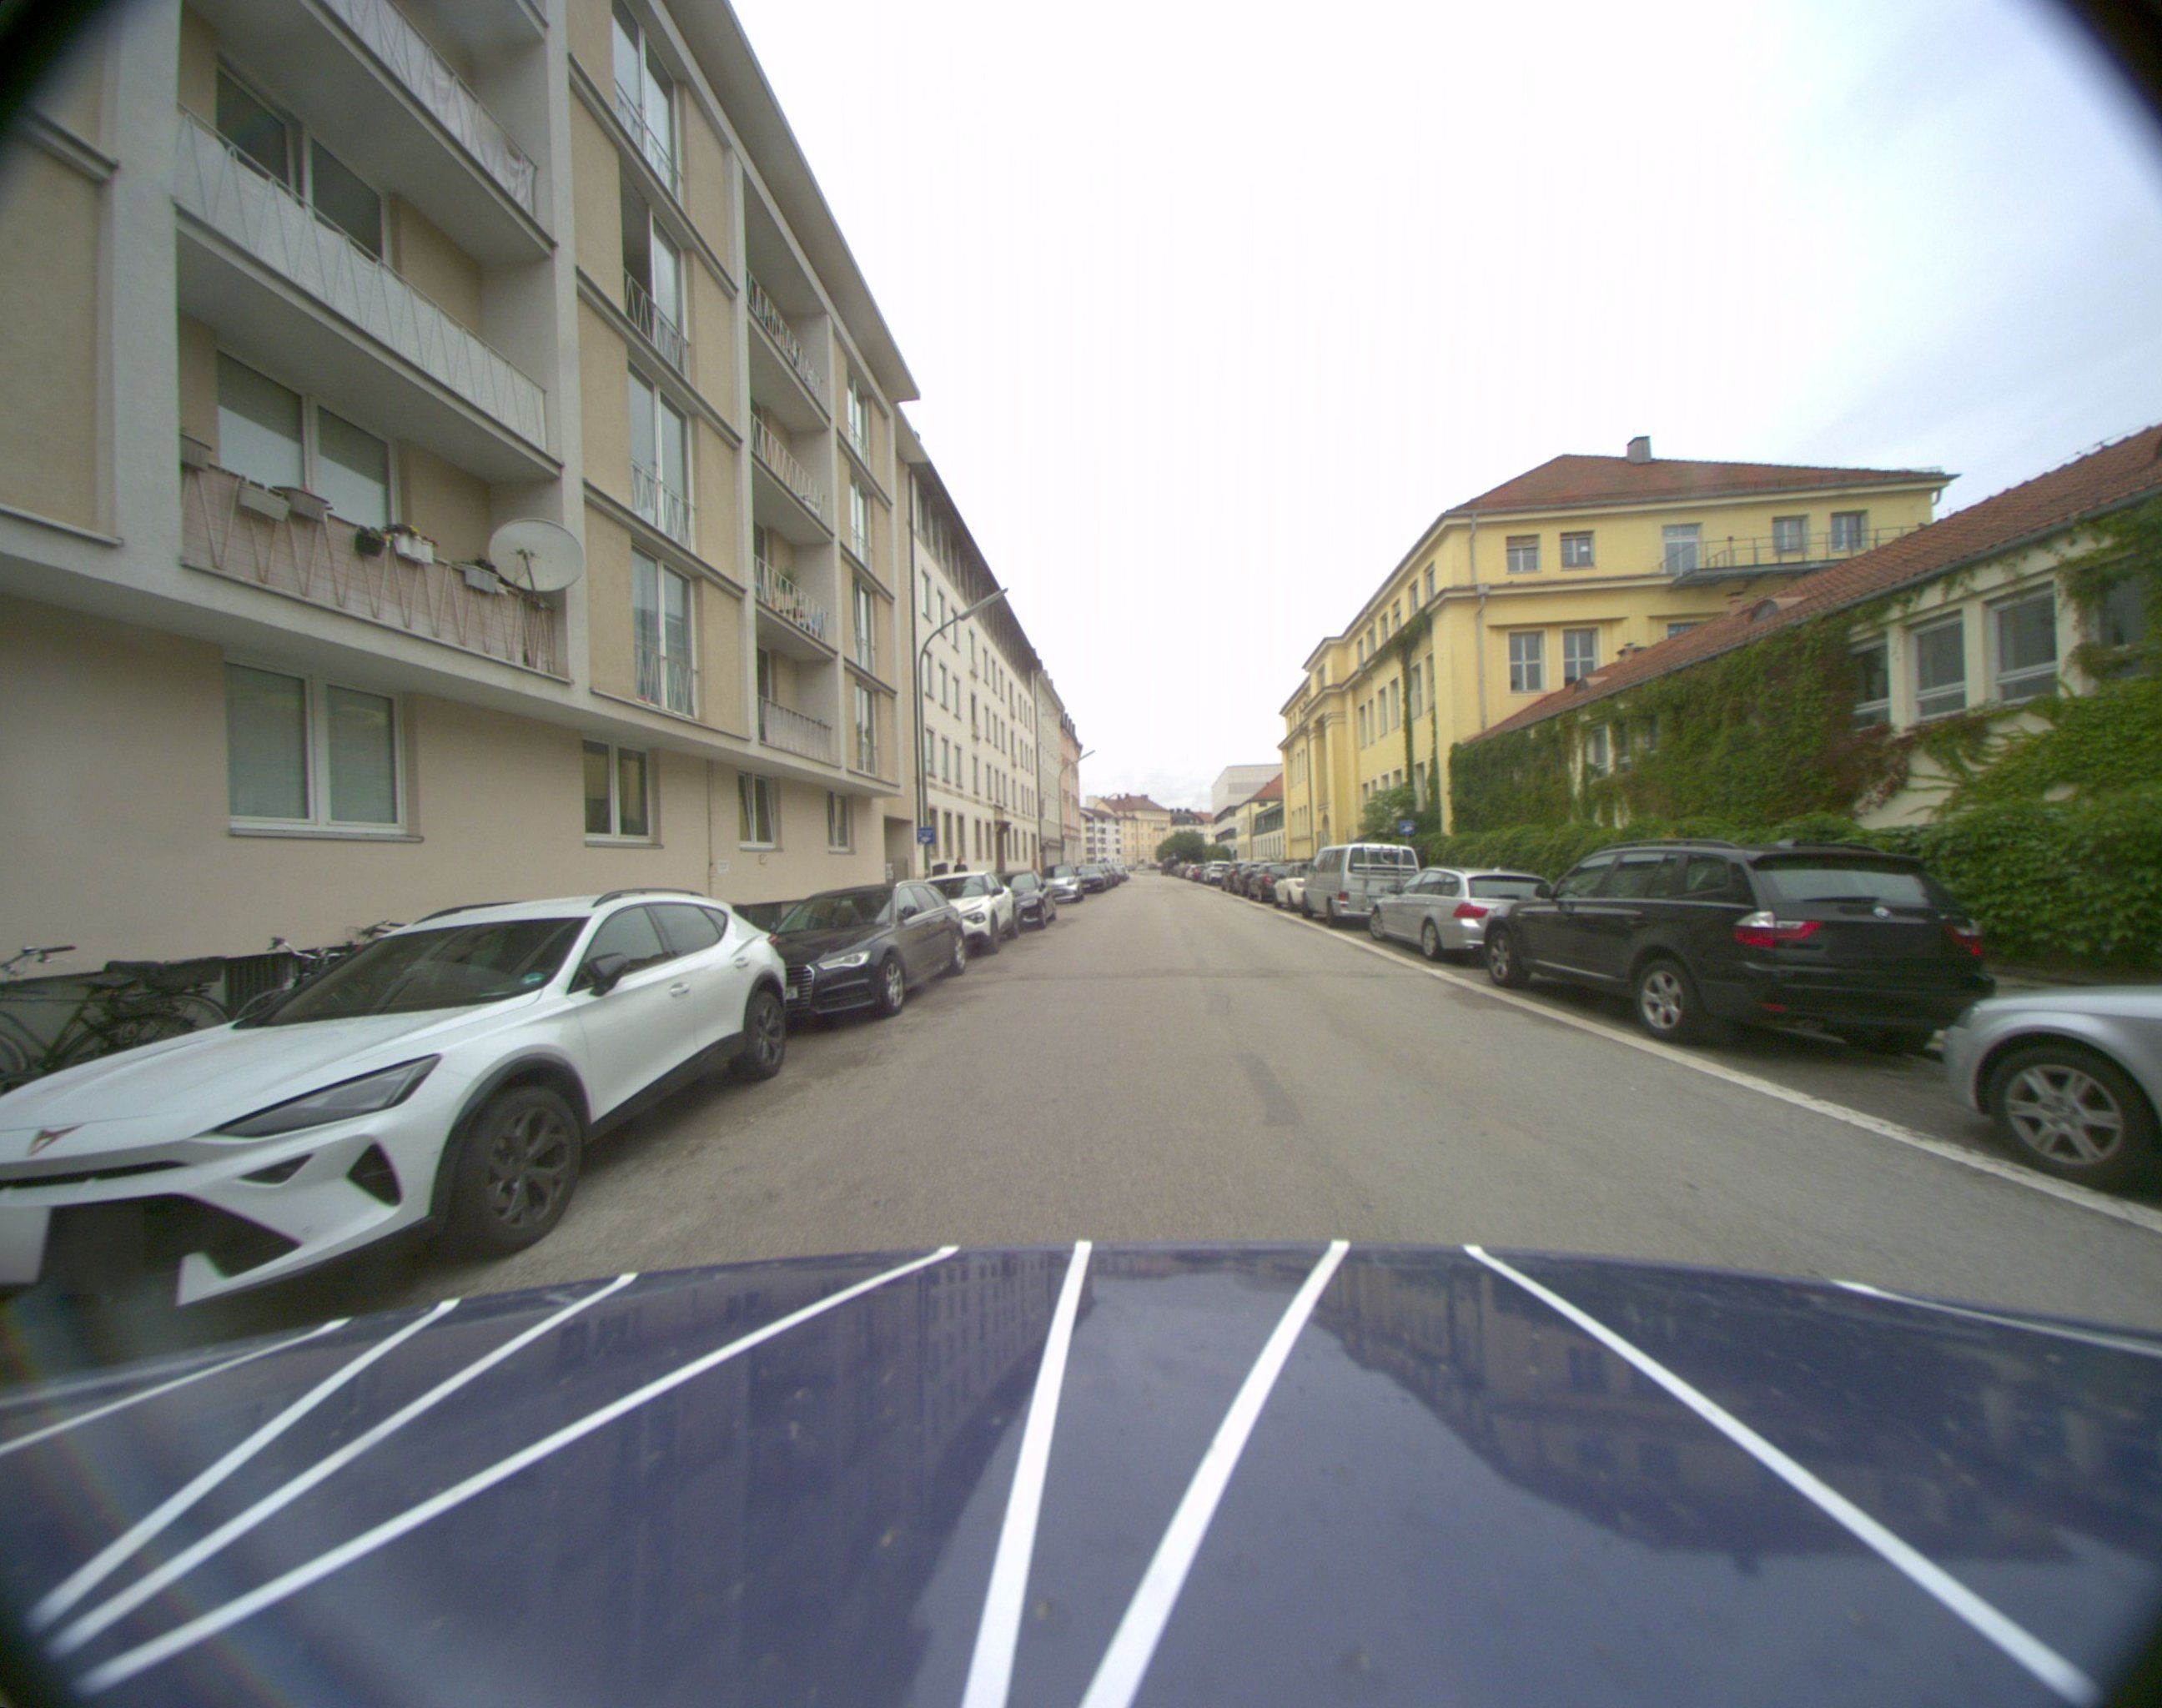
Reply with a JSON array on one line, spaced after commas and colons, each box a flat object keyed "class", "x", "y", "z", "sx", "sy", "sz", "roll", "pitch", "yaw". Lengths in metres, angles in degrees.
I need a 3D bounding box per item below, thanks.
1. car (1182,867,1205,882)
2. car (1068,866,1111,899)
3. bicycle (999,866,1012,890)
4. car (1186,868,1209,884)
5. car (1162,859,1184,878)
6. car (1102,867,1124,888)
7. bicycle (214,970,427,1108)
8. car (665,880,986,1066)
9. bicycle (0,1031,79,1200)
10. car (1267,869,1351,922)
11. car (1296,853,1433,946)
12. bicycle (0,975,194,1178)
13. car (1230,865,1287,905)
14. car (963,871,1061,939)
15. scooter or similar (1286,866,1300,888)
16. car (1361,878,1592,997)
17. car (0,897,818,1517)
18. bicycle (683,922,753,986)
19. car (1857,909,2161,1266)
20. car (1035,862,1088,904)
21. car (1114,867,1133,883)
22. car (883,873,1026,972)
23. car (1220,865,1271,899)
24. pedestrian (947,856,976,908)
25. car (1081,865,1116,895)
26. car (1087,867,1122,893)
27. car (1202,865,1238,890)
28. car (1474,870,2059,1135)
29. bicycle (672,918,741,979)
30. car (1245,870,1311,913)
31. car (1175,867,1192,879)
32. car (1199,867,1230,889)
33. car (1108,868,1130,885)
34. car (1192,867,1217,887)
[{"class": "car", "x": 11.860, "y": 2.138, "z": 80.597, "sx": 1.962, "sy": 1.473, "sz": 4.531, "roll": 1, "pitch": -1, "yaw": 3}, {"class": "car", "x": 0.534, "y": 1.475, "z": 40.726, "sx": 1.806, "sy": 1.475, "sz": 5.322, "roll": -5, "pitch": -1, "yaw": 5}, {"class": "bicycle", "x": -3.944, "y": 1.259, "z": 39.819, "sx": 0.514, "sy": 1.215, "sz": 1.989, "roll": -1, "pitch": -1, "yaw": -1}, {"class": "car", "x": 11.494, "y": 2.117, "z": 74.914, "sx": 1.798, "sy": 1.421, "sz": 4.666, "roll": 2, "pitch": -1, "yaw": 4}, {"class": "car", "x": 14.101, "y": 2.228, "z": 116.846, "sx": 2.219, "sy": 2.836, "sz": 6.196, "roll": 1, "pitch": -1, "yaw": -3}, {"class": "car", "x": 2.669, "y": 1.969, "z": 64.274, "sx": 1.710, "sy": 1.582, "sz": 4.363, "roll": -3, "pitch": -1, "yaw": 2}, {"class": "bicycle", "x": -6.701, "y": 1.592, "z": 6.785, "sx": 0.378, "sy": 0.899, "sz": 1.392, "roll": -2, "pitch": -1, "yaw": 6}, {"class": "car", "x": -2.775, "y": 1.232, "z": 9.807, "sx": 1.884, "sy": 1.513, "sz": 5.166, "roll": -5, "pitch": -1, "yaw": 5}, {"class": "bicycle", "x": -6.447, "y": 1.540, "z": 4.005, "sx": 0.378, "sy": 0.899, "sz": 1.392, "roll": -2, "pitch": -1, "yaw": 6}, {"class": "car", "x": 6.912, "y": 1.206, "z": 23.394, "sx": 1.594, "sy": 1.432, "sz": 4.020, "roll": 1, "pitch": 0, "yaw": 4}, {"class": "car", "x": 6.468, "y": 0.950, "z": 17.954, "sx": 1.891, "sy": 1.878, "sz": 4.776, "roll": 1, "pitch": 0, "yaw": 6}, {"class": "bicycle", "x": -6.829, "y": 1.448, "z": 4.938, "sx": 0.378, "sy": 1.112, "sz": 1.393, "roll": -2, "pitch": -1, "yaw": 6}, {"class": "car", "x": 7.797, "y": 1.297, "z": 33.690, "sx": 1.728, "sy": 1.620, "sz": 4.468, "roll": 1, "pitch": 0, "yaw": 4}, {"class": "car", "x": -1.630, "y": 1.220, "z": 19.724, "sx": 1.749, "sy": 1.380, "sz": 4.955, "roll": -4, "pitch": -1, "yaw": 3}, {"class": "scooter or similar", "x": 13.233, "y": 1.426, "z": 47.483, "sx": 0.561, "sy": 1.361, "sz": 1.502, "roll": -1, "pitch": -1, "yaw": 6}, {"class": "car", "x": 6.090, "y": 1.178, "z": 12.418, "sx": 1.656, "sy": 1.406, "sz": 4.773, "roll": 1, "pitch": 0, "yaw": 6}, {"class": "car", "x": -3.311, "y": 1.186, "z": 4.500, "sx": 1.790, "sy": 1.524, "sz": 4.648, "roll": -5, "pitch": -1, "yaw": 0}, {"class": "bicycle", "x": -6.155, "y": 1.677, "z": 12.954, "sx": 0.378, "sy": 0.899, "sz": 1.392, "roll": -2, "pitch": -1, "yaw": 6}, {"class": "car", "x": 5.237, "y": 1.023, "z": 2.123, "sx": 1.698, "sy": 1.385, "sz": 4.502, "roll": 3, "pitch": 0, "yaw": 4}, {"class": "car", "x": -0.736, "y": 1.126, "z": 30.489, "sx": 1.653, "sy": 1.486, "sz": 2.882, "roll": -4, "pitch": -1, "yaw": 6}, {"class": "car", "x": 4.789, "y": 2.352, "z": 86.651, "sx": 1.686, "sy": 1.663, "sz": 3.804, "roll": -3, "pitch": -1, "yaw": -3}, {"class": "car", "x": -2.259, "y": 1.184, "z": 14.816, "sx": 1.698, "sy": 1.480, "sz": 4.582, "roll": -4, "pitch": -1, "yaw": 3}, {"class": "car", "x": 8.256, "y": 1.374, "z": 38.527, "sx": 1.793, "sy": 1.577, "sz": 4.820, "roll": 1, "pitch": -1, "yaw": 3}, {"class": "pedestrian", "x": -4.242, "y": 0.994, "z": 26.960, "sx": 0.724, "sy": 1.753, "sz": 0.905, "roll": -2, "pitch": 3, "yaw": 6}, {"class": "car", "x": 1.117, "y": 1.536, "z": 45.952, "sx": 1.648, "sy": 1.579, "sz": 4.637, "roll": -4, "pitch": -1, "yaw": 6}, {"class": "car", "x": 1.625, "y": 1.682, "z": 50.796, "sx": 1.843, "sy": 1.513, "sz": 4.712, "roll": -3, "pitch": -1, "yaw": 7}, {"class": "car", "x": 9.485, "y": 1.570, "z": 52.104, "sx": 1.749, "sy": 1.624, "sz": 4.858, "roll": 0, "pitch": -1, "yaw": 3}, {"class": "car", "x": 5.602, "y": 1.003, "z": 7.193, "sx": 1.701, "sy": 1.633, "sz": 4.492, "roll": 1, "pitch": 0, "yaw": 4}, {"class": "bicycle", "x": -6.553, "y": 1.634, "z": 13.364, "sx": 0.378, "sy": 0.899, "sz": 1.392, "roll": -2, "pitch": -1, "yaw": 6}, {"class": "car", "x": 7.333, "y": 1.350, "z": 28.634, "sx": 1.607, "sy": 1.422, "sz": 4.253, "roll": 1, "pitch": 0, "yaw": 4}, {"class": "car", "x": 14.234, "y": 2.669, "z": 105.754, "sx": 1.918, "sy": 1.577, "sz": 4.354, "roll": 2, "pitch": -2, "yaw": 2}, {"class": "car", "x": 10.000, "y": 1.759, "z": 57.046, "sx": 1.707, "sy": 1.493, "sz": 4.497, "roll": 3, "pitch": 0, "yaw": 4}, {"class": "car", "x": 3.565, "y": 2.066, "z": 70.889, "sx": 1.691, "sy": 1.393, "sz": 4.366, "roll": -2, "pitch": -1, "yaw": 7}, {"class": "car", "x": 10.077, "y": 1.850, "z": 62.172, "sx": 1.703, "sy": 1.488, "sz": 4.151, "roll": 2, "pitch": 0, "yaw": 5}]
